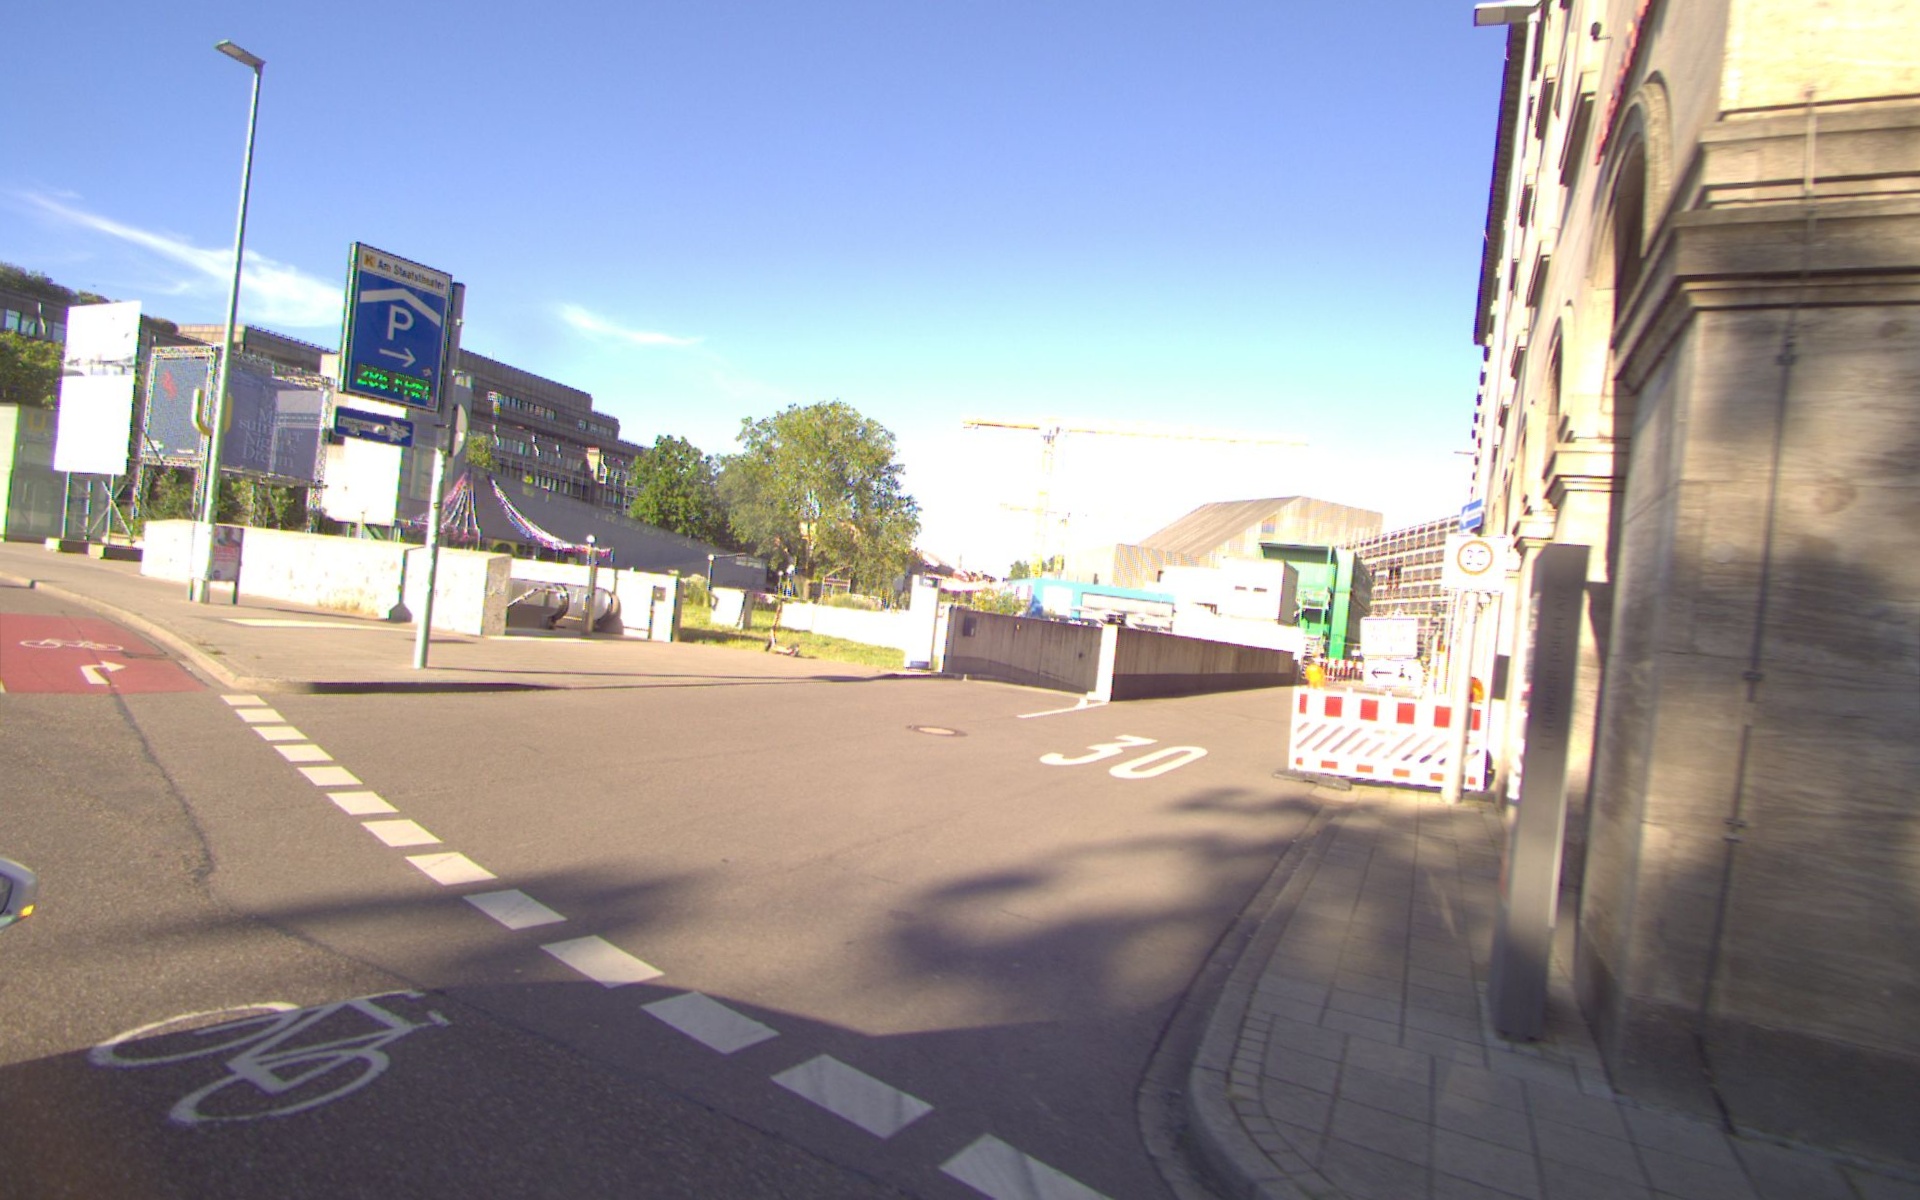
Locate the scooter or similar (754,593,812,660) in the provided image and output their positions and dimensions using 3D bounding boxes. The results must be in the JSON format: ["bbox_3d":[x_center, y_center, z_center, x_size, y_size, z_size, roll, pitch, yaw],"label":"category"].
[{"bbox_3d":[-3.724,0.542,21.136,1.350,1.261,0.360,6,1,42],"label":"scooter or similar"}]
